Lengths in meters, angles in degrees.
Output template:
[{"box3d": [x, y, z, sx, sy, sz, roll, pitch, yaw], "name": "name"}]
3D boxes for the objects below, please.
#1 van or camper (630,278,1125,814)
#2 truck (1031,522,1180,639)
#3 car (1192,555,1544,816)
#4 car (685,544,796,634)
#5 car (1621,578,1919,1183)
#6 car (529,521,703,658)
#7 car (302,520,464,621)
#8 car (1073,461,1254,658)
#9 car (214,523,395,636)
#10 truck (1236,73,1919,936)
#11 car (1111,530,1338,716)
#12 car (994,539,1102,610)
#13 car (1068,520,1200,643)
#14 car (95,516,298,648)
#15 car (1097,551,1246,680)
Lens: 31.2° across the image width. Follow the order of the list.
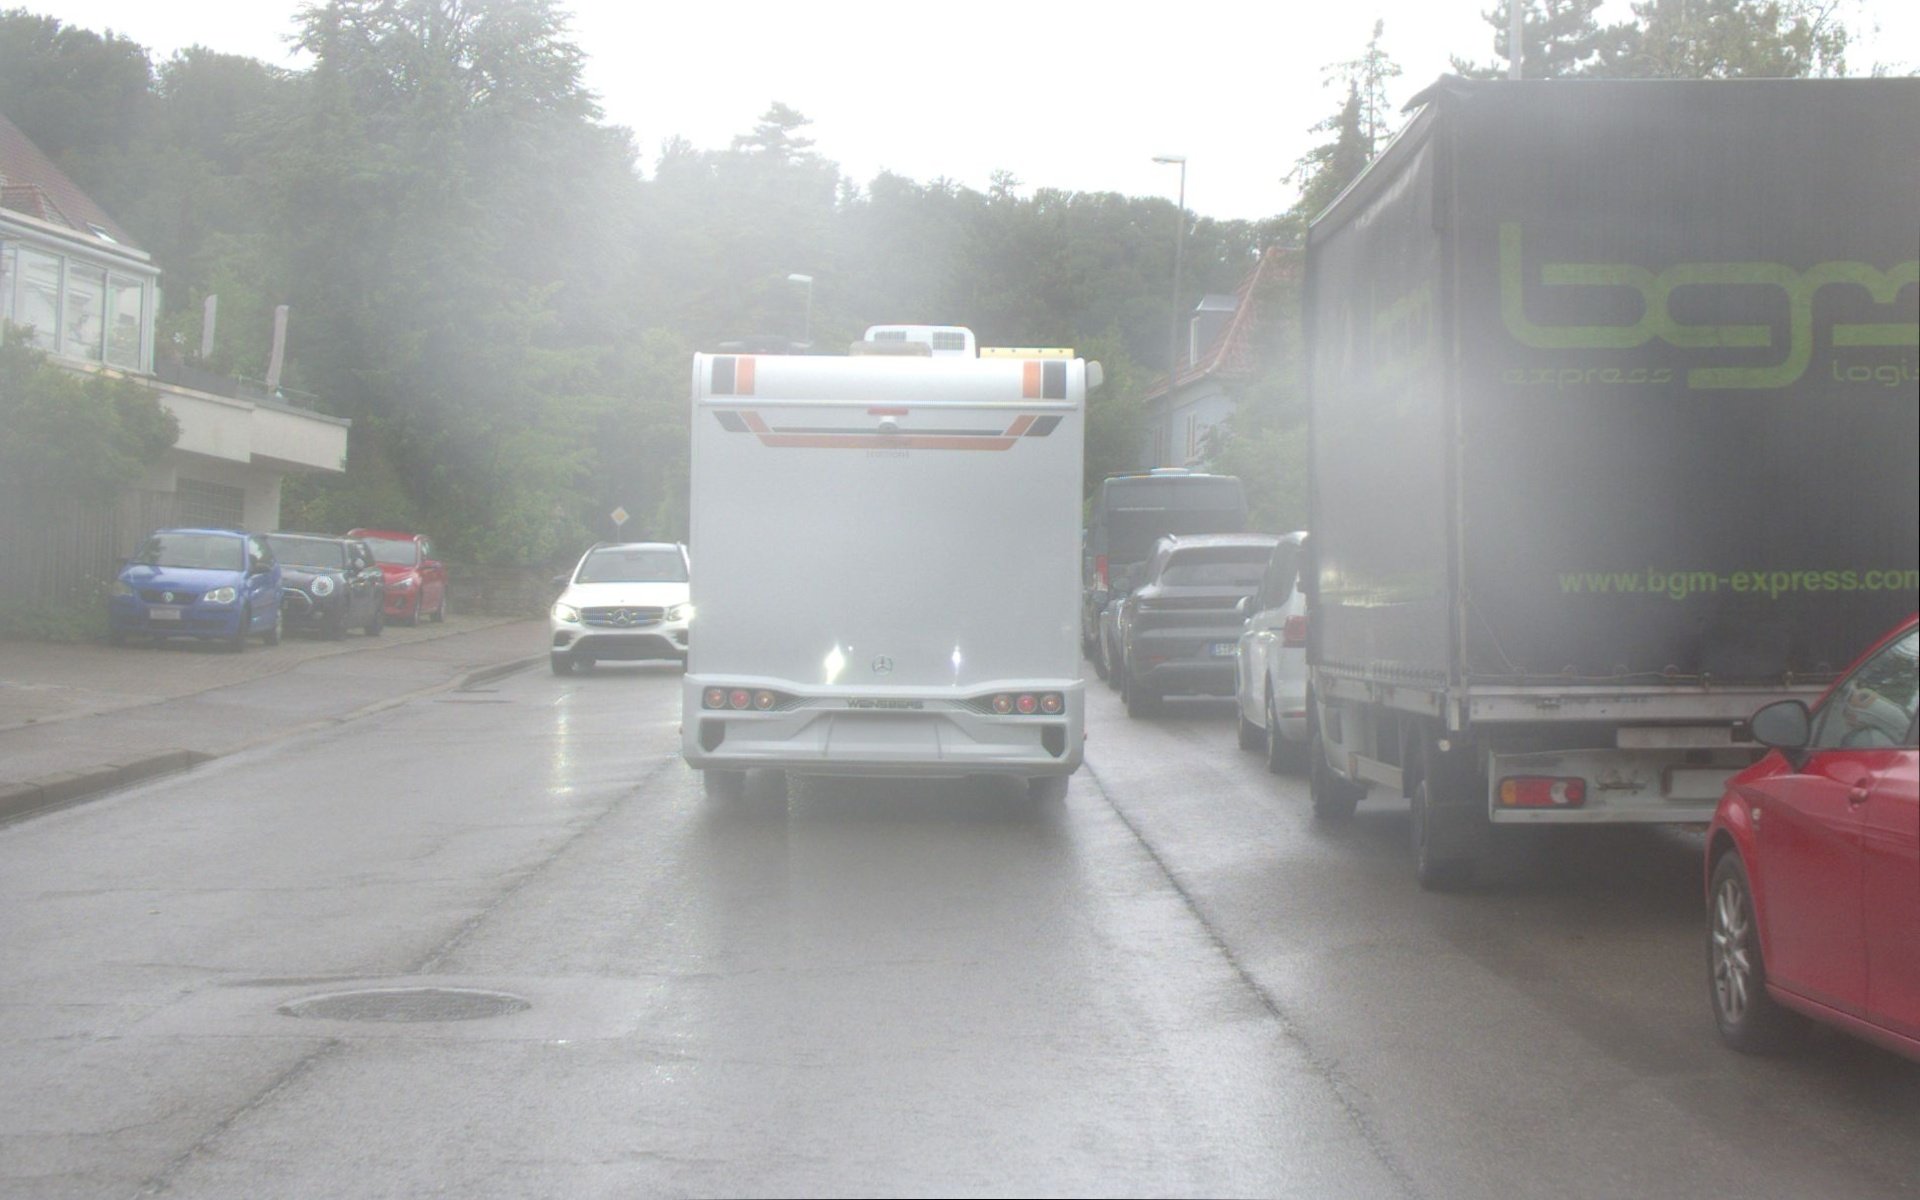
[{"box3d": [-0.445, -0.260, 21.857, 2.616, 2.843, 6.031, 2, -1, 0], "name": "van or camper"}, {"box3d": [2.479, -0.374, 60.111, 2.114, 1.845, 6.619, 3, 1, -1], "name": "truck"}, {"box3d": [2.821, 0.528, 24.986, 1.846, 1.678, 5.639, 0, 0, 0], "name": "car"}, {"box3d": [-4.074, -0.237, 64.347, 1.798, 1.562, 4.384, 2, 1, 0], "name": "car"}, {"box3d": [3.180, 0.664, 9.004, 1.832, 1.433, 4.987, 0, 0, -1], "name": "car"}, {"box3d": [-4.319, -0.166, 43.736, 1.906, 1.602, 4.429, 2, 1, -2], "name": "car"}, {"box3d": [-9.430, -0.501, 56.484, 1.774, 1.432, 4.588, 6, 1, 0], "name": "car"}, {"box3d": [2.672, -0.557, 46.501, 2.031, 2.497, 5.956, 0, 1, -1], "name": "car"}, {"box3d": [-9.124, -0.310, 48.161, 1.633, 1.391, 4.239, 5, 1, 0], "name": "car"}, {"box3d": [2.952, -0.399, 17.221, 2.436, 3.324, 7.965, 0, 0, 0], "name": "truck"}, {"box3d": [2.470, 0.168, 33.157, 1.936, 1.666, 4.694, 0, 1, 1], "name": "car"}, {"box3d": [1.883, -0.575, 74.634, 1.685, 1.452, 4.058, 2, 1, -8], "name": "car"}, {"box3d": [2.671, -0.312, 53.753, 1.827, 1.836, 5.270, 0, 1, 0], "name": "car"}, {"box3d": [-9.378, -0.257, 42.506, 1.607, 1.429, 3.959, 4, 1, -1], "name": "car"}, {"box3d": [2.419, 0.148, 40.053, 1.589, 1.424, 3.797, 0, 1, 1], "name": "car"}]
